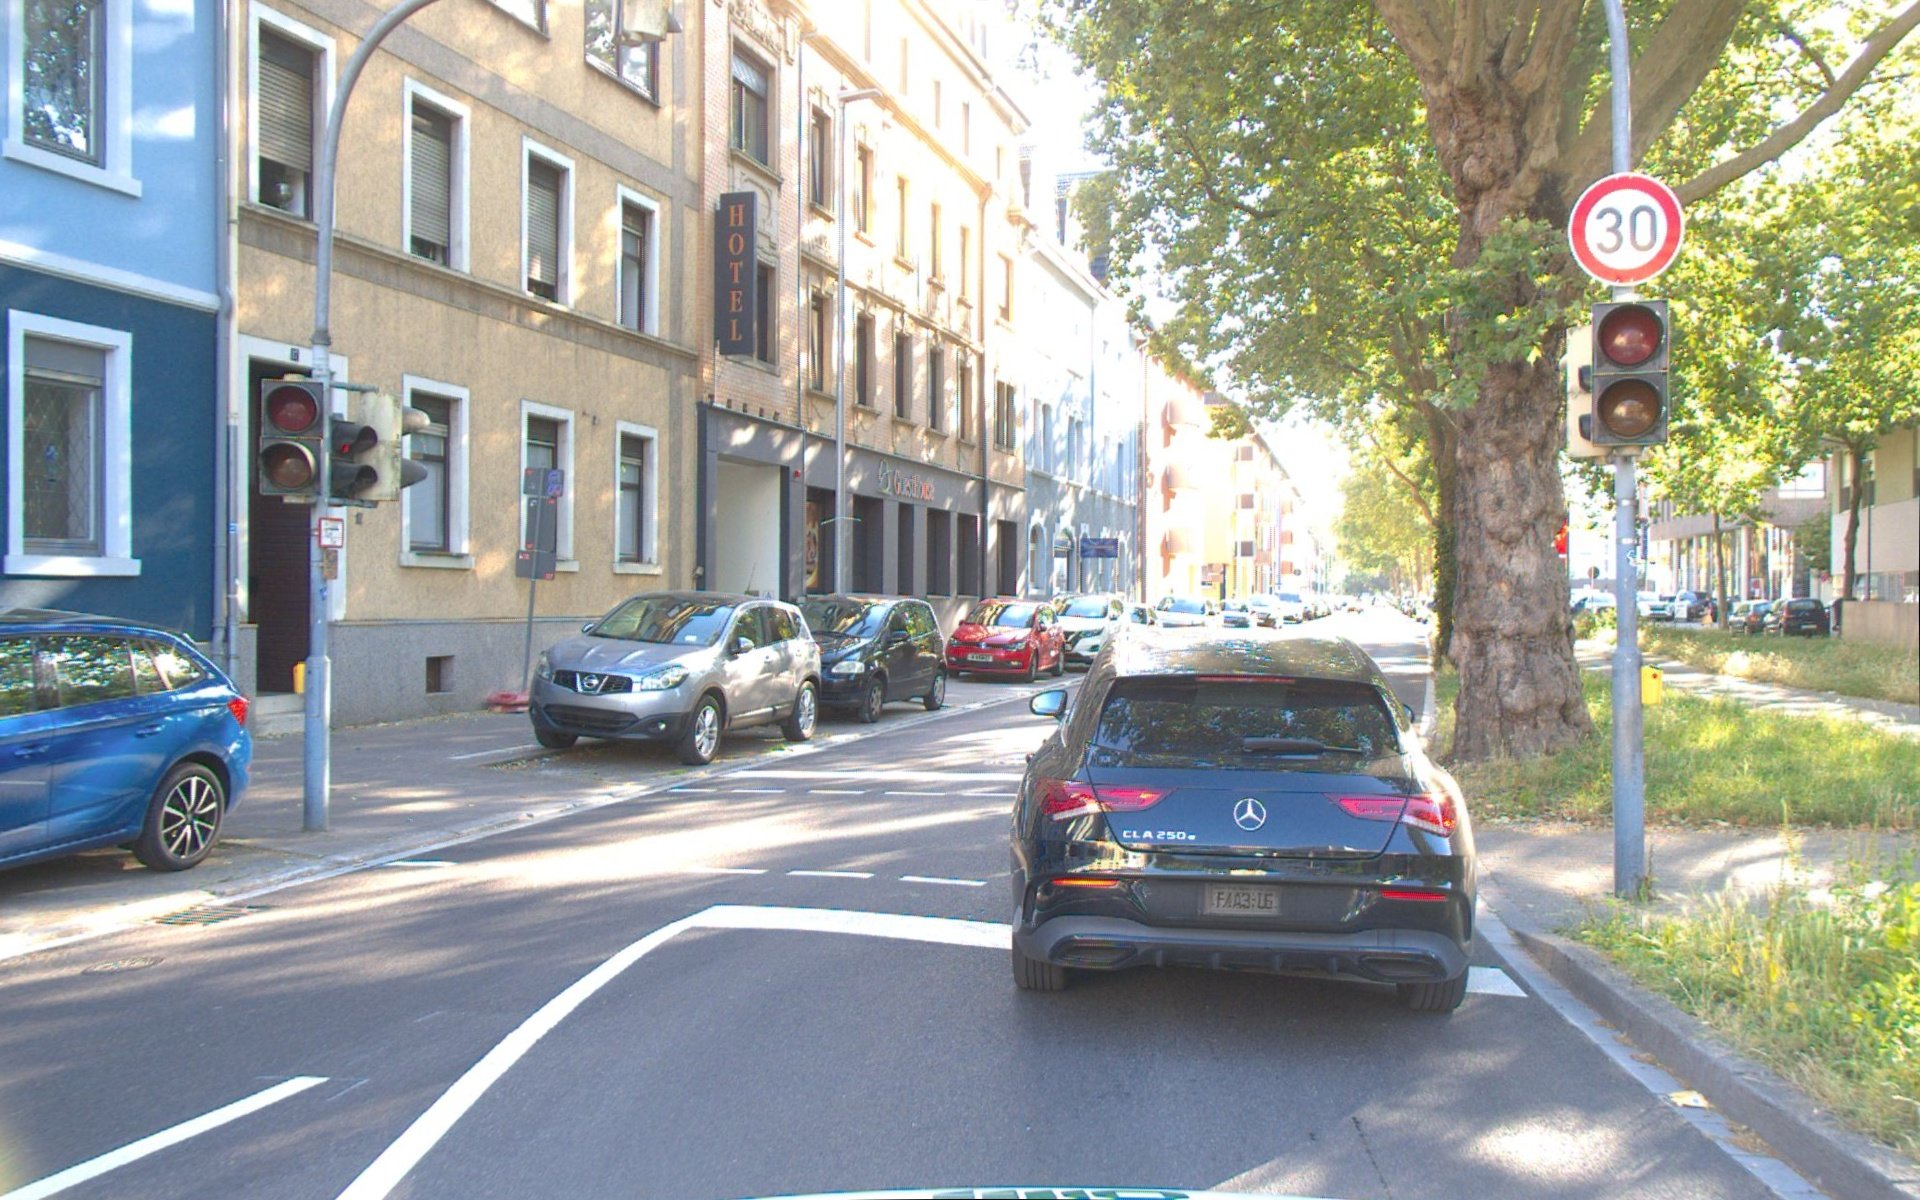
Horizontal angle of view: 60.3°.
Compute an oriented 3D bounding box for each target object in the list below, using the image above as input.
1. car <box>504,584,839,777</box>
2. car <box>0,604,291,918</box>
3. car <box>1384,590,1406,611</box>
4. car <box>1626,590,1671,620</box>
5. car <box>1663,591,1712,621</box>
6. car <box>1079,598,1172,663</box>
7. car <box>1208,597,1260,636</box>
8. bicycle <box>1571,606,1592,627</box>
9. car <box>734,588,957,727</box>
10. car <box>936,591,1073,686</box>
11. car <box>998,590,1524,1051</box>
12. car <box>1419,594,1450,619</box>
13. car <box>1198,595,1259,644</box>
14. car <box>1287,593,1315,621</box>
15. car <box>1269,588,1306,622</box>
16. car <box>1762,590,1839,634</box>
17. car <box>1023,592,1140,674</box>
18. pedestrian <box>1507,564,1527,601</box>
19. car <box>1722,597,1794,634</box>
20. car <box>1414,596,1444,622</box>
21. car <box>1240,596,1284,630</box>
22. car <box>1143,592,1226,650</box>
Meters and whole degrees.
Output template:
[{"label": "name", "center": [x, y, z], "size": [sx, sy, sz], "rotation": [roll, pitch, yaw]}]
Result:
[{"label": "car", "center": [-2.827, 0.720, 17.220], "size": [1.744, 1.702, 4.158], "rotation": [2, 1, 16]}, {"label": "car", "center": [-5.571, 0.816, 8.623], "size": [1.615, 1.512, 4.266], "rotation": [2, 1, 14]}, {"label": "car", "center": [45.498, 0.083, 172.874], "size": [1.951, 2.049, 4.003], "rotation": [1, -1, 11]}, {"label": "car", "center": [41.956, 0.279, 100.821], "size": [1.835, 1.764, 4.184], "rotation": [0, 0, 12]}, {"label": "car", "center": [43.979, 0.327, 100.063], "size": [1.943, 1.764, 4.184], "rotation": [0, 0, 13]}, {"label": "car", "center": [4.251, 0.732, 42.064], "size": [1.642, 1.522, 3.874], "rotation": [2, 1, 16]}, {"label": "car", "center": [11.247, 0.643, 67.752], "size": [1.642, 1.512, 3.603], "rotation": [2, 1, 16]}, {"label": "bicycle", "center": [29.656, 0.782, 78.925], "size": [0.375, 1.021, 1.486], "rotation": [0, 0, -1]}, {"label": "car", "center": [-1.430, 0.696, 22.069], "size": [1.643, 1.633, 3.707], "rotation": [2, 1, 18]}, {"label": "car", "center": [0.905, 0.671, 31.242], "size": [1.642, 1.620, 3.759], "rotation": [2, 1, 16]}, {"label": "car", "center": [1.162, 0.720, 7.539], "size": [1.707, 1.468, 3.971], "rotation": [2, 1, 5]}, {"label": "car", "center": [29.113, 0.396, 101.574], "size": [1.600, 1.493, 4.024], "rotation": [-2, -1, 13]}, {"label": "car", "center": [9.835, 0.692, 60.360], "size": [1.642, 1.670, 3.987], "rotation": [2, 1, 16]}, {"label": "car", "center": [23.297, 0.475, 112.884], "size": [1.708, 1.818, 4.553], "rotation": [2, 1, 13]}, {"label": "car", "center": [19.817, 0.274, 100.069], "size": [1.697, 1.940, 5.212], "rotation": [1, 0, 16]}, {"label": "car", "center": [31.154, 0.424, 61.404], "size": [1.819, 1.580, 3.762], "rotation": [0, 0, 15]}, {"label": "car", "center": [2.696, 0.661, 35.856], "size": [1.642, 1.612, 4.202], "rotation": [2, 1, 16]}, {"label": "pedestrian", "center": [27.462, -0.839, 81.556], "size": [0.751, 1.792, 0.664], "rotation": [-2, -1, 5]}, {"label": "car", "center": [32.786, 0.618, 68.013], "size": [1.819, 1.494, 4.127], "rotation": [0, 0, 13]}, {"label": "car", "center": [30.659, 0.586, 108.237], "size": [1.772, 1.566, 4.586], "rotation": [-3, -1, 15]}, {"label": "car", "center": [14.684, 0.595, 80.230], "size": [1.642, 1.550, 4.023], "rotation": [2, 1, 16]}, {"label": "car", "center": [7.115, 0.618, 52.082], "size": [1.868, 1.670, 4.580], "rotation": [2, 1, 16]}]
